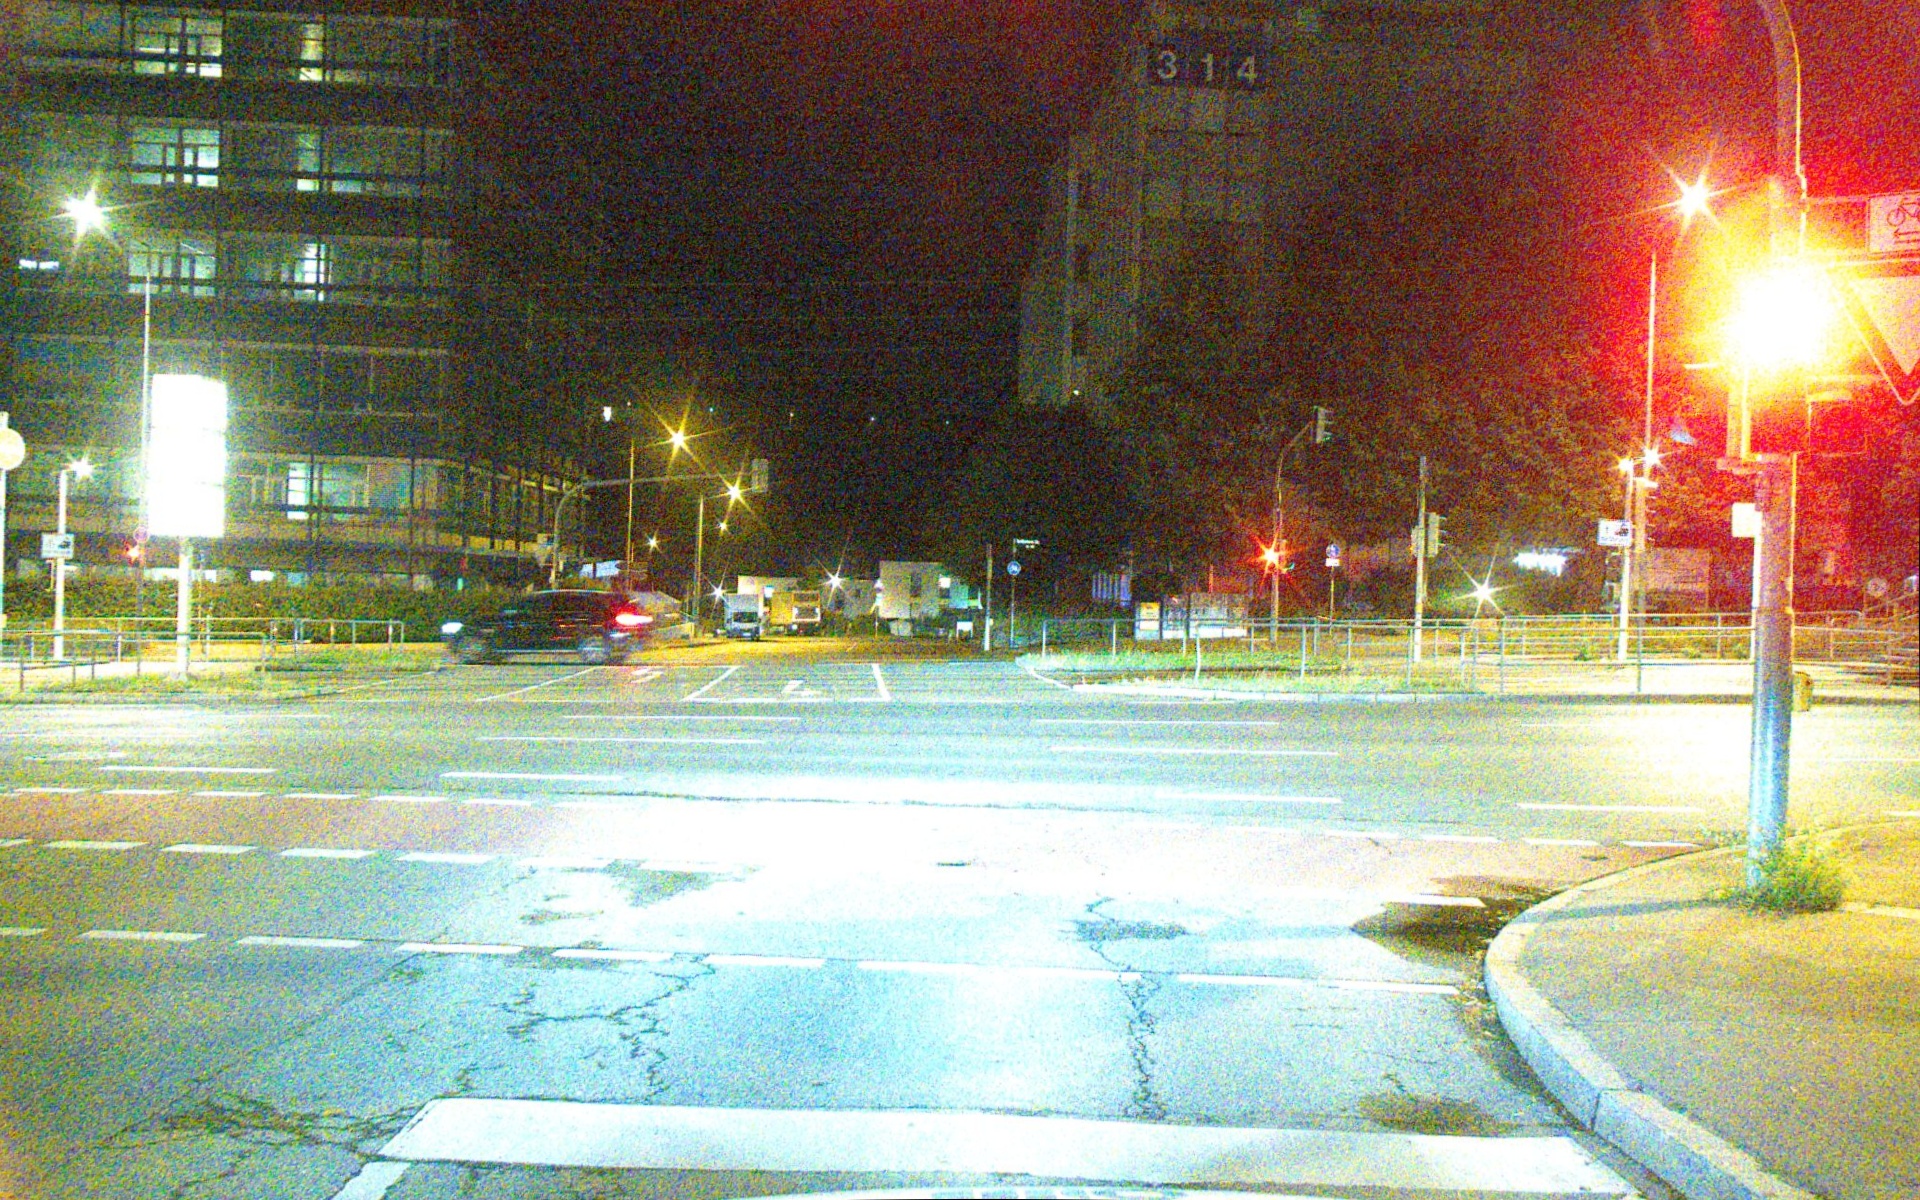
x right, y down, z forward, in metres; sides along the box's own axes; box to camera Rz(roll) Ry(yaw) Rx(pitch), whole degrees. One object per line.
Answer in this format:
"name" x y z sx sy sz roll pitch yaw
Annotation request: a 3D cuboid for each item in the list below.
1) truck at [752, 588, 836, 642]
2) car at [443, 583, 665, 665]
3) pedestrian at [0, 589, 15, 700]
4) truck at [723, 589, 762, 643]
"truck" -15.285 1.295 150.978 4.751 4.627 12.593 1 0 -19
"car" -9.228 0.538 37.827 4.521 1.759 2.001 1 0 3
"pedestrian" -14.707 0.664 24.740 0.656 1.663 0.862 1 -1 -5
"truck" -15.698 1.131 118.954 2.535 3.772 5.724 1 0 -9
